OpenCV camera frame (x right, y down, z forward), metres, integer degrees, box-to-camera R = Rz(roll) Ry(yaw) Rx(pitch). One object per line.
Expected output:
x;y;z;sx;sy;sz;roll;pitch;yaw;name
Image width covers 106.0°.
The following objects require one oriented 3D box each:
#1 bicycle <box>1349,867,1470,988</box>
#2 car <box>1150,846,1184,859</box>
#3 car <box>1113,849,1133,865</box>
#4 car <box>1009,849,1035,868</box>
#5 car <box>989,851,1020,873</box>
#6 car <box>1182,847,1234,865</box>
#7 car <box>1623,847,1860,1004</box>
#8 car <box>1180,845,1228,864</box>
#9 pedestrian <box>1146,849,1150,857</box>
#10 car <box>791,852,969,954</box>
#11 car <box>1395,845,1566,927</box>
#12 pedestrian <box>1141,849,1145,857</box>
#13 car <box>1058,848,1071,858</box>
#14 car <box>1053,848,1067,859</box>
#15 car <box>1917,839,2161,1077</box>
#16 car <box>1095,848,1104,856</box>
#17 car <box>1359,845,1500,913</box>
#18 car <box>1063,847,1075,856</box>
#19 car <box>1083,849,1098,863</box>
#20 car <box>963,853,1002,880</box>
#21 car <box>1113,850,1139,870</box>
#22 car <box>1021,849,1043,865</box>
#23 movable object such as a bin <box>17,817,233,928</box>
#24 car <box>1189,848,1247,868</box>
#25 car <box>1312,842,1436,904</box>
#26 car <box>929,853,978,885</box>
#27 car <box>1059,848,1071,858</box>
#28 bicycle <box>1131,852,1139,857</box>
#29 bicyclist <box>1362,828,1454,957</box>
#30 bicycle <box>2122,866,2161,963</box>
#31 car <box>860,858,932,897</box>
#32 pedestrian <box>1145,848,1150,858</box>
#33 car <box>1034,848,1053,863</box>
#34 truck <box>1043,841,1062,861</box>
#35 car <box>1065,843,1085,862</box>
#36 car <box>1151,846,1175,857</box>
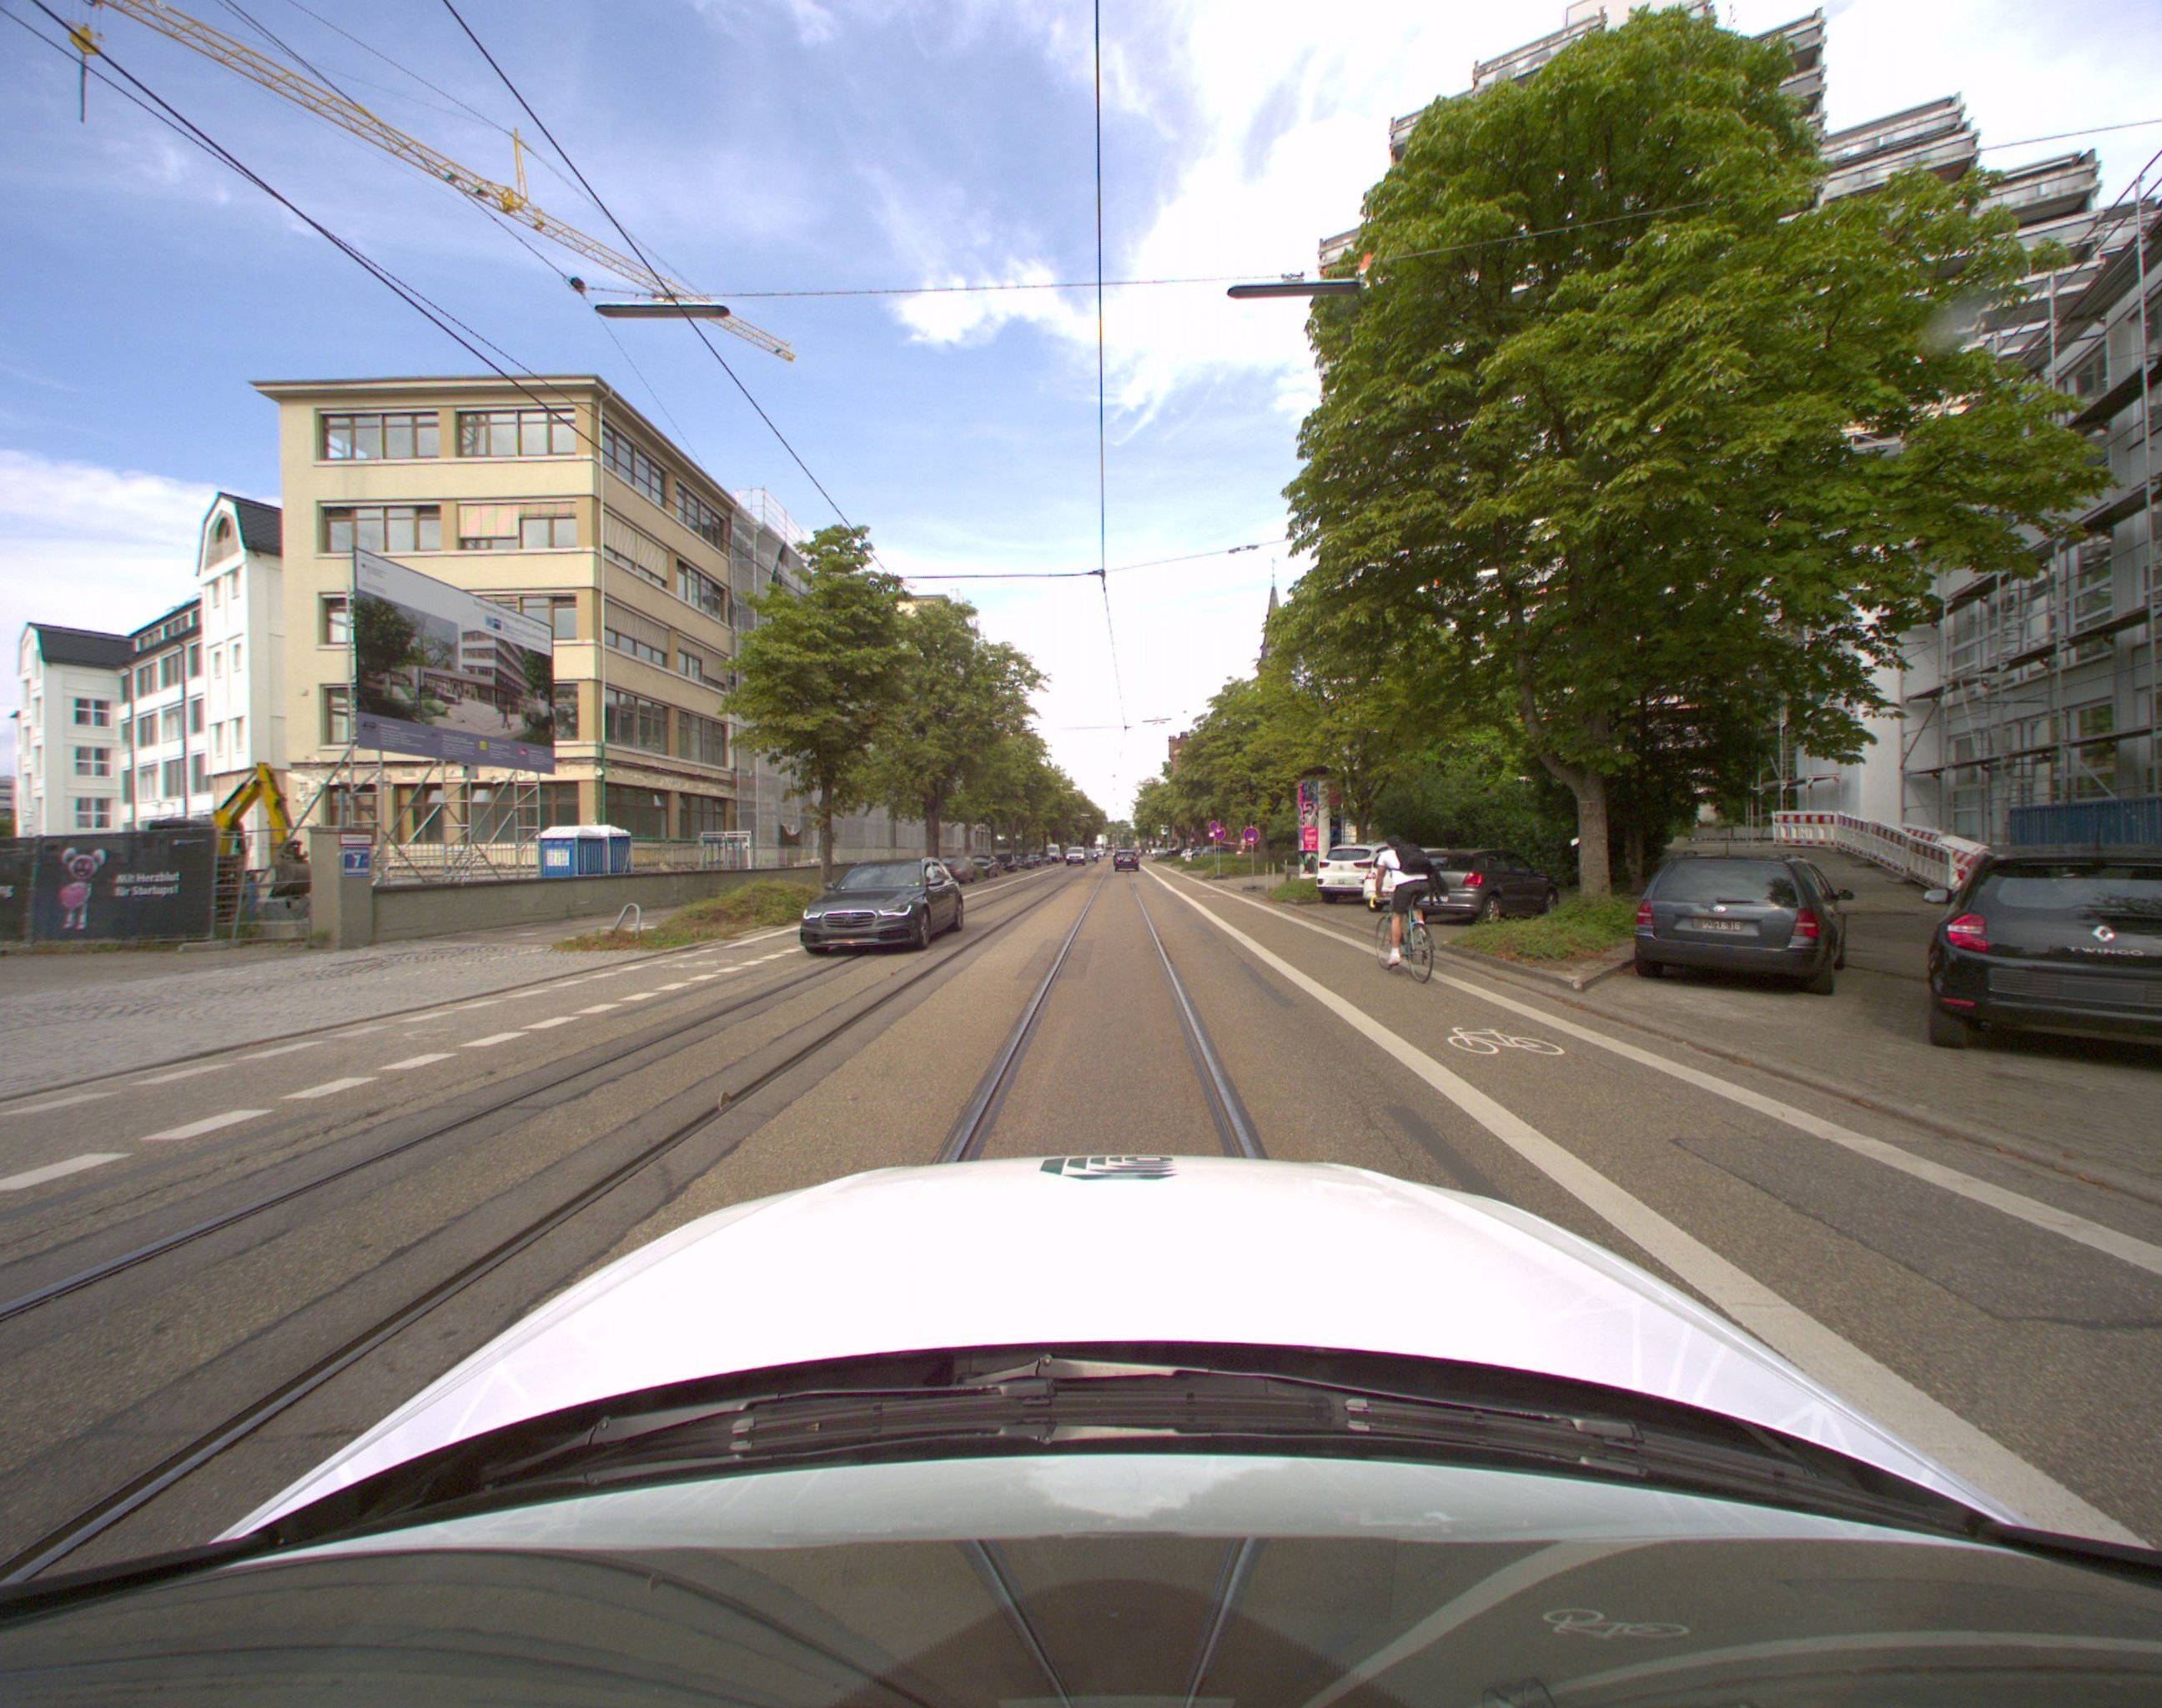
3.914;0.817;9.890;0.655;1.249;2.125;0;1;1;bicycle
10.422;-0.189;98.925;3.975;1.508;1.884;-1;0;-1;car
3.969;0.270;77.439;1.786;1.470;4.002;1;0;2;car
-5.274;0.363;73.016;1.795;1.583;4.033;-2;0;2;car
-5.862;0.588;62.788;1.795;1.583;4.033;-2;0;2;car
10.547;0.183;67.850;3.975;1.425;1.884;-1;0;-1;car
7.766;0.655;9.453;3.760;1.458;1.620;0;0;-43;car
11.024;0.025;73.245;3.975;1.627;1.884;-1;0;-1;car
13.887;-0.150;168.034;0.721;1.646;0.769;0;0;12;pedestrian
-3.261;0.721;14.215;1.828;1.448;4.555;-1;0;2;car
7.996;0.558;16.210;3.551;1.442;1.606;-1;0;-37;car
12.649;-0.140;166.988;0.721;1.646;0.769;0;0;12;pedestrian
-2.658;-0.209;132.067;1.795;1.583;4.033;-2;0;2;car
-3.041;-0.086;118.960;1.795;1.583;4.033;-2;0;2;car
8.090;0.654;6.681;3.760;1.522;1.620;0;0;-43;car
3.737;-0.488;167.254;1.795;1.622;4.486;-2;0;2;car
8.279;0.524;19.255;3.463;1.442;1.543;-1;0;-37;car
-2.188;-0.514;149.699;1.795;1.583;4.033;-2;0;2;car
1.197;0.185;100.858;1.795;1.622;4.486;-2;0;2;car
-6.262;0.767;52.055;1.795;1.583;4.033;-2;0;2;car
3.167;0.401;57.852;1.786;1.423;4.002;0;0;2;car
-4.894;0.276;82.116;1.795;1.583;4.033;-2;0;2;car
-18.971;0.343;16.264;1.977;2.067;1.963;-1;0;4;movable object such as a bin
10.227;0.284;60.951;3.975;1.425;1.884;-1;0;-1;car
8.068;0.459;22.365;3.463;1.573;1.543;-1;0;-37;car
-6.720;0.764;43.189;1.795;1.583;4.033;-2;0;2;car
-2.643;-0.244;138.218;1.795;1.583;4.033;-2;0;2;car
11.067;0.178;167.160;1.709;0.991;0.660;0;0;11;bicycle
3.925;0.432;9.858;0.655;1.463;1.179;0;0;1;bicyclist
13.616;0.689;9.352;1.947;1.128;0.542;-2;-1;32;bicycle
-7.364;0.902;32.805;1.795;1.374;4.033;-2;0;2;car
11.721;-0.200;143.404;0.723;1.646;0.767;0;0;4;pedestrian
-4.274;0.160;93.373;1.795;1.583;4.033;-2;0;2;car
-3.667;-0.395;106.443;2.063;2.470;4.901;-2;0;2;truck
-0.571;-0.129;80.988;1.795;1.823;4.486;-2;0;2;car
14.557;-0.506;145.027;3.975;1.910;2.000;0;0;-1;car
